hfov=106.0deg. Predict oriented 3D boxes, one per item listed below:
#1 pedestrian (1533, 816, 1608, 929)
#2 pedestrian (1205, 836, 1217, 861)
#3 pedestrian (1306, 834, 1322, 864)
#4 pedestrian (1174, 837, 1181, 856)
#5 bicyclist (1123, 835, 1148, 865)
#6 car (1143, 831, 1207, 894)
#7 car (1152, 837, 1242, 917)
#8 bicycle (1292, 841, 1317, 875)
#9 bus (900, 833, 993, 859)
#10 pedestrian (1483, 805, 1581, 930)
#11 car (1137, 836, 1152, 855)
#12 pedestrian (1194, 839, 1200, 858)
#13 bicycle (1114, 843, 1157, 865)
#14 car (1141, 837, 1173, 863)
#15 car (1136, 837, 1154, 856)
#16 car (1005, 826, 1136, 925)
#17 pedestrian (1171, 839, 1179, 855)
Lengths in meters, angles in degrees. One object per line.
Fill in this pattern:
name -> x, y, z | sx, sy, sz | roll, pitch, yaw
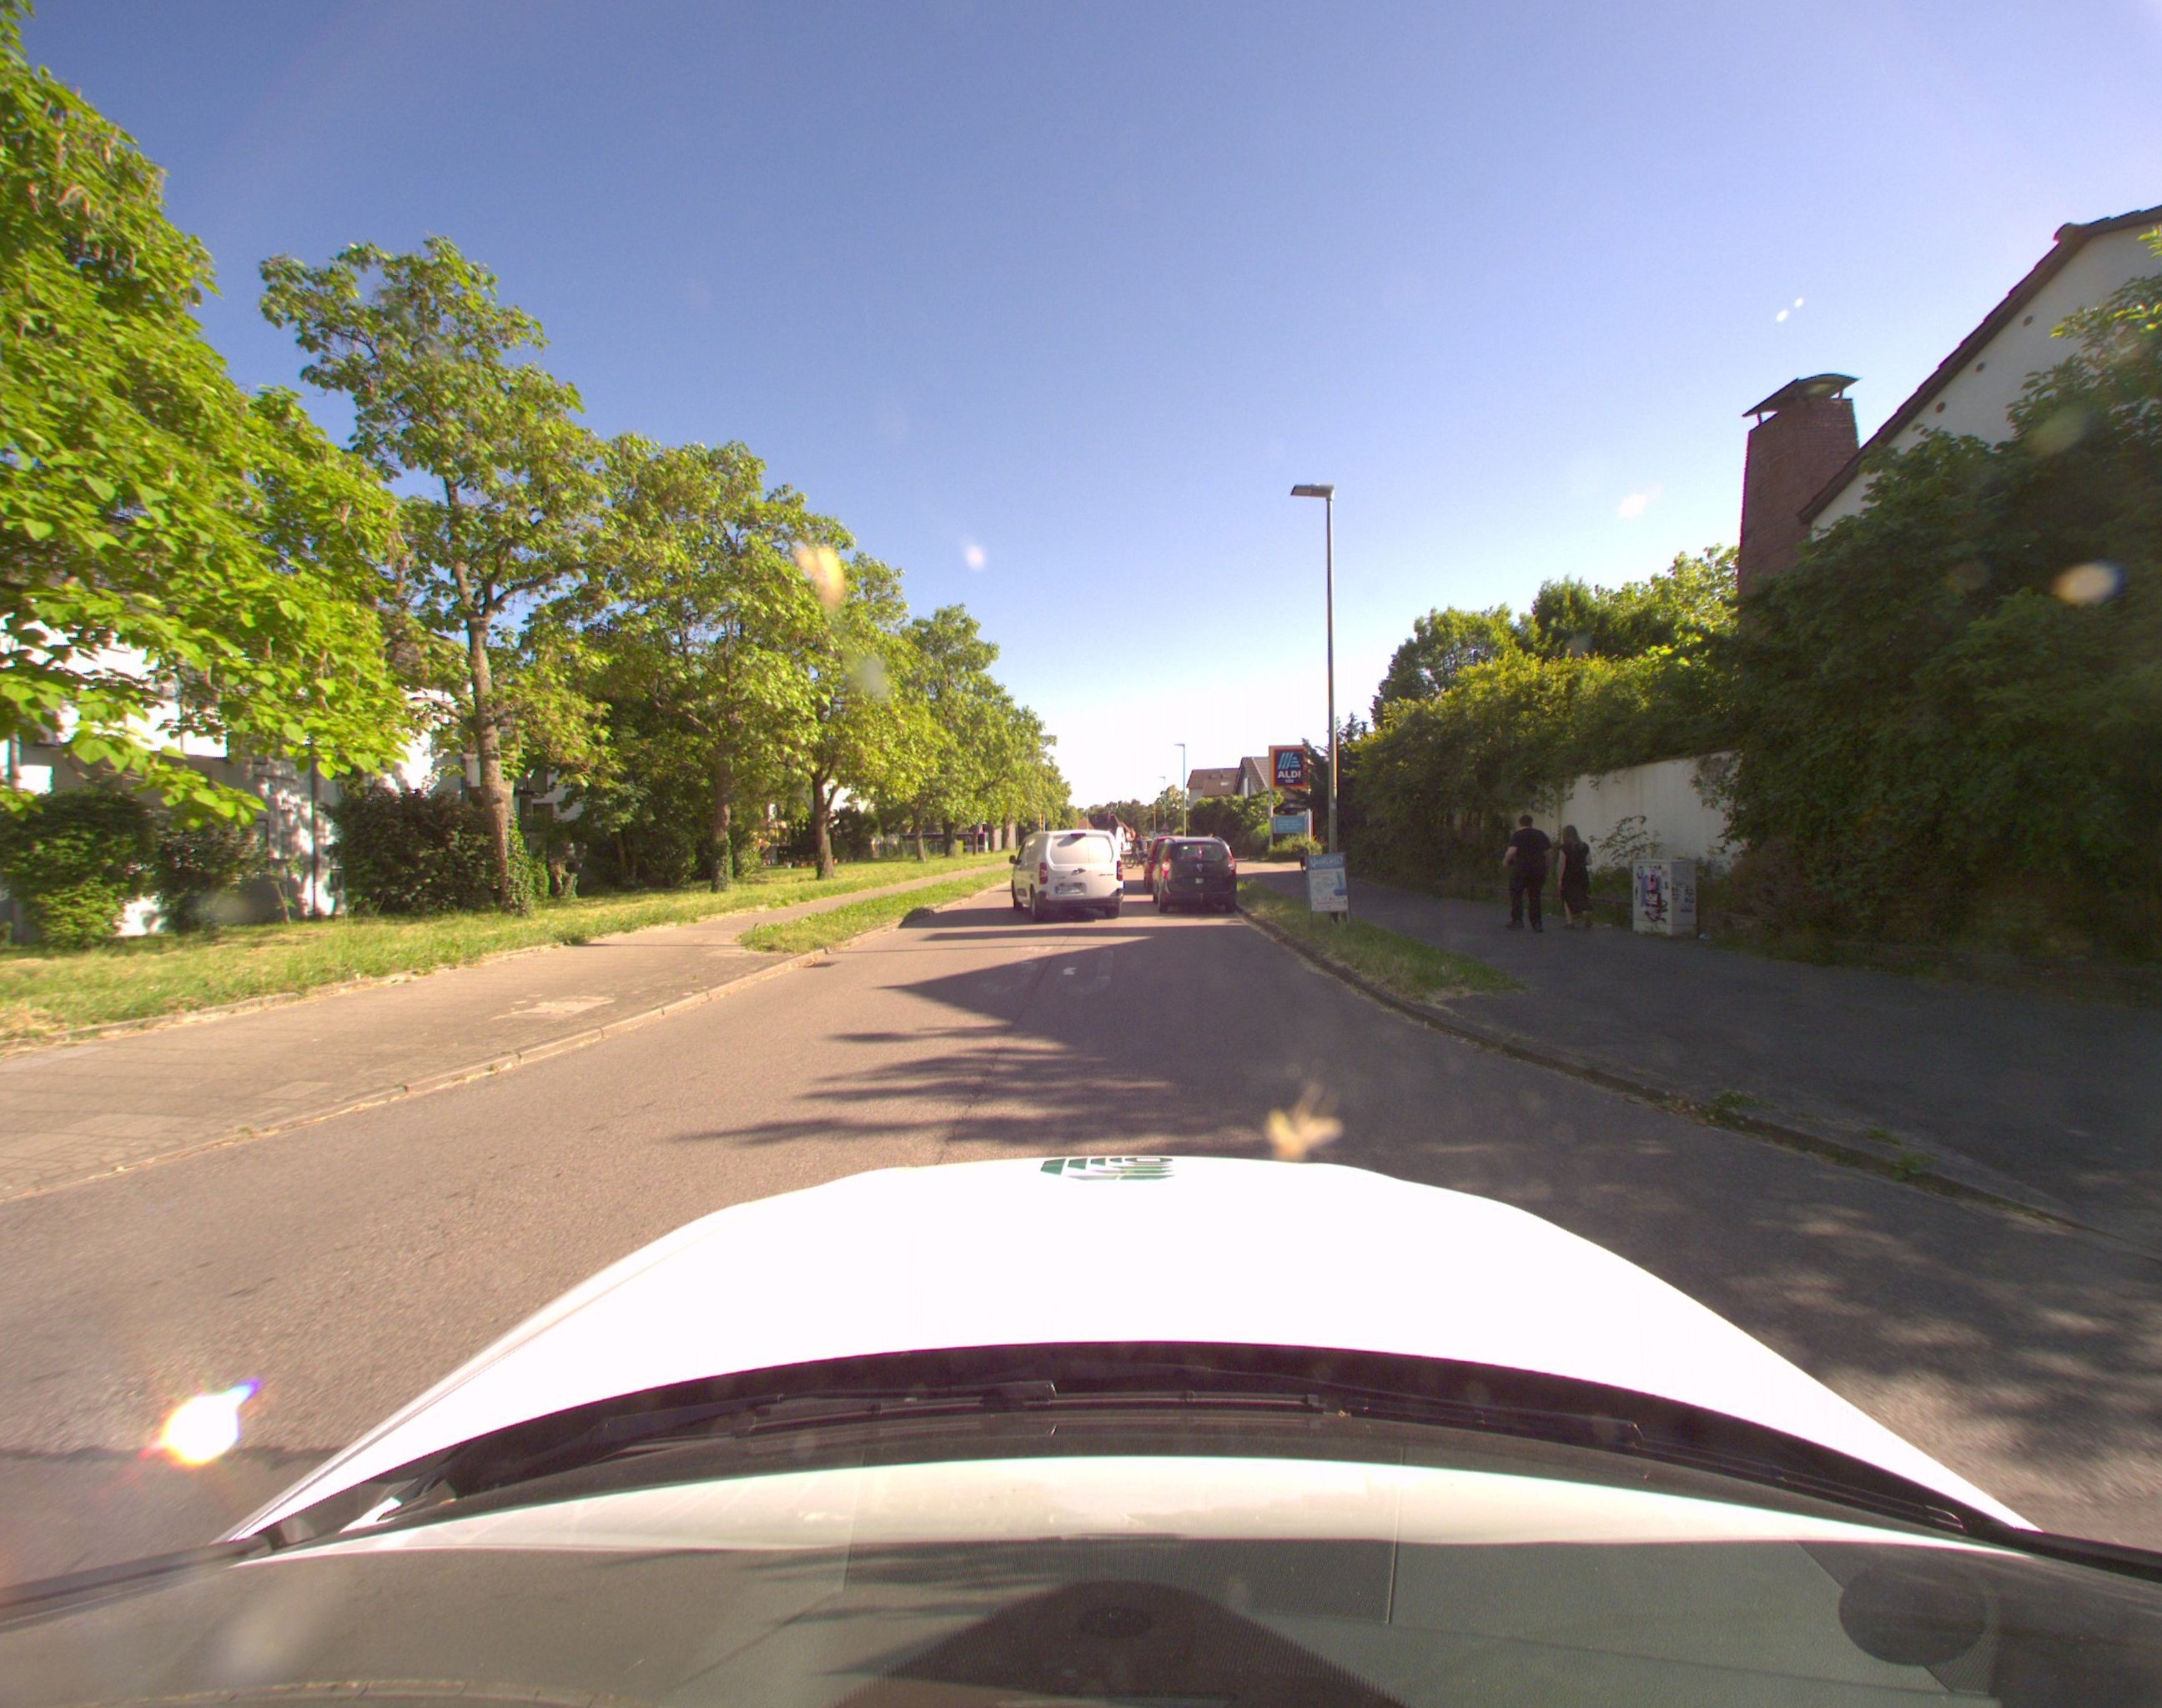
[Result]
pedestrian -> 7.271, 0.269, 12.121 | 0.571, 1.609, 0.792 | -3, -1, 0
pedestrian -> 9.776, -0.415, 61.096 | 0.793, 1.781, 0.811 | -1, 1, 11
pedestrian -> 12.845, -0.262, 44.876 | 0.685, 1.631, 0.781 | -1, 1, 24
pedestrian -> 8.219, -0.652, 69.275 | 0.563, 1.637, 0.548 | -1, 1, 8
bicyclist -> 2.947, -0.202, 43.942 | 0.954, 1.584, 0.914 | 0, 0, 41
car -> 2.916, 0.204, 26.032 | 1.832, 1.805, 4.659 | -1, 1, 4
car -> 2.614, 0.433, 19.241 | 1.717, 1.656, 4.357 | -1, 1, 3
bicycle -> 8.497, 0.130, 30.952 | 0.714, 1.220, 1.905 | -3, -1, 19
bus -> -16.088, -0.944, 98.065 | 10.519, 2.824, 3.048 | -2, 0, 1
pedestrian -> 6.576, 0.190, 11.927 | 0.801, 1.717, 0.983 | -3, -1, 0
car -> 8.959, -1.200, 115.607 | 1.859, 2.562, 4.770 | 1, 0, 2
pedestrian -> 10.299, -0.480, 72.371 | 0.563, 1.637, 0.548 | -1, 1, 8
bicycle -> 2.938, 0.002, 43.939 | 2.250, 1.138, 0.794 | -1, 0, 40
car -> 4.883, -0.259, 52.868 | 1.674, 1.599, 4.028 | -1, 0, 0
car -> 6.402, -0.774, 81.658 | 1.716, 1.837, 4.005 | 0, 1, 4
car -> -0.379, 0.382, 17.894 | 1.996, 1.881, 4.269 | -1, 1, -13
pedestrian -> 10.842, -0.832, 93.816 | 0.792, 1.861, 0.873 | -1, 1, -4
